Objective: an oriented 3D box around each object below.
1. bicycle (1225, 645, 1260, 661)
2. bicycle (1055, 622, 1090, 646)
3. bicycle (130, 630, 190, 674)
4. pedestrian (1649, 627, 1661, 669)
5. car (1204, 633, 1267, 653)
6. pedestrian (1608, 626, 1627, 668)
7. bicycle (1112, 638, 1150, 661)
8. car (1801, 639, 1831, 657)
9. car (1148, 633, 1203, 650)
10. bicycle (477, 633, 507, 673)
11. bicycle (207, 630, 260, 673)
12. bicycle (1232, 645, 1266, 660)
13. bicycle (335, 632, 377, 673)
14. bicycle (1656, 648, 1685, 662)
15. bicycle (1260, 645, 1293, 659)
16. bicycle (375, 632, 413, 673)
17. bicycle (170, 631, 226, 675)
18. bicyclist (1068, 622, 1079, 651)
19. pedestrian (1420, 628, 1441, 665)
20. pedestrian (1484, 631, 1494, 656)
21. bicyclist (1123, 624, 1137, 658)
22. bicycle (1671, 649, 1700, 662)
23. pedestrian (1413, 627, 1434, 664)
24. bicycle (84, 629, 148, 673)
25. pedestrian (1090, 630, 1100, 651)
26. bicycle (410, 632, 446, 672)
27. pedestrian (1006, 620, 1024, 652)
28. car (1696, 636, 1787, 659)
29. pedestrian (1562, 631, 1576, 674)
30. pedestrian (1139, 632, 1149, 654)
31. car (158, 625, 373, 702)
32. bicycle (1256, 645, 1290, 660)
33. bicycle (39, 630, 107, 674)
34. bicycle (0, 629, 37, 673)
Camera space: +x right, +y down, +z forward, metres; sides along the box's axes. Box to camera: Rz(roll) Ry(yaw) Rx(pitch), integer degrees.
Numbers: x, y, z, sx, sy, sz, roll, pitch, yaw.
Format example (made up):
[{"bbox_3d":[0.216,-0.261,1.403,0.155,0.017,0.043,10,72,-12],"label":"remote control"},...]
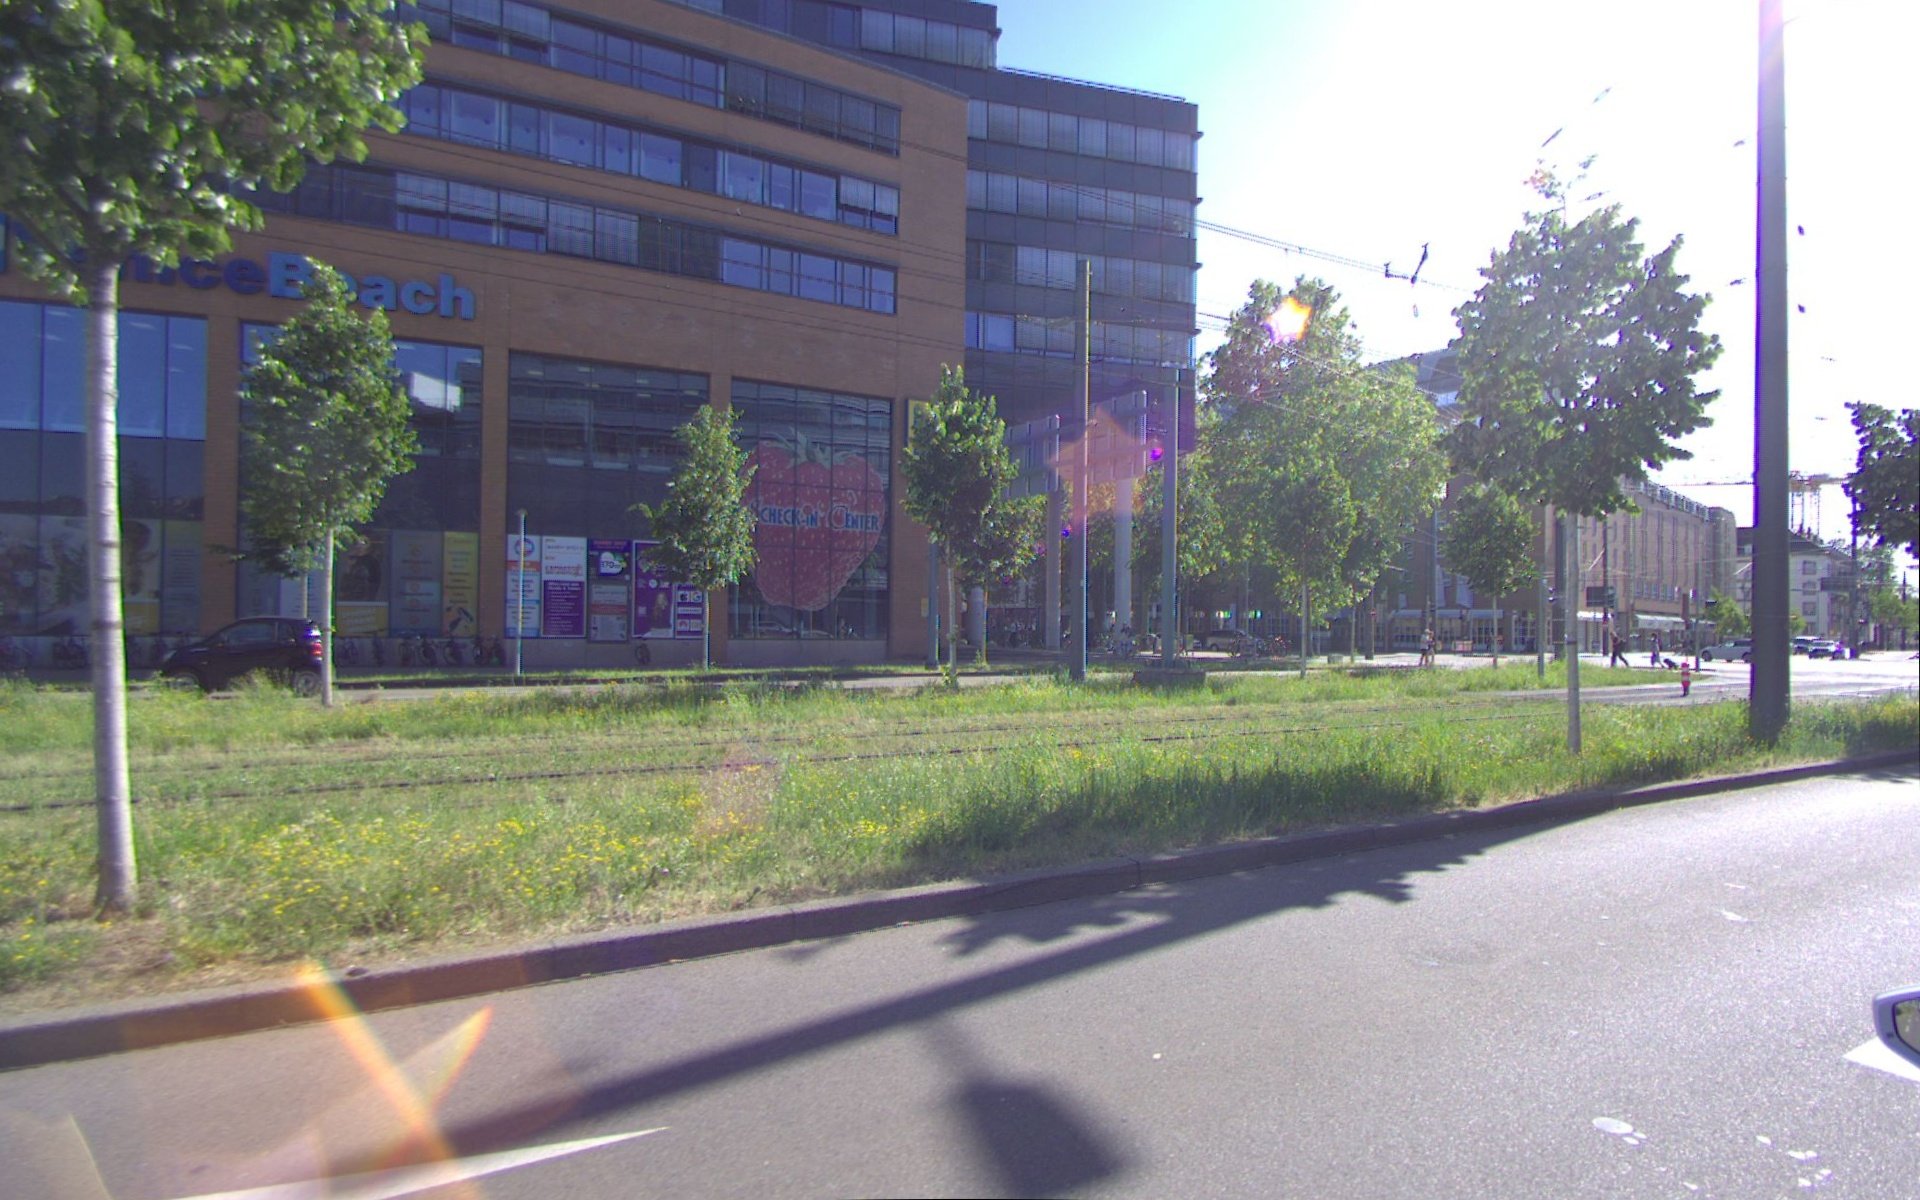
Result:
[{"bbox_3d":[15.724,2.950,55.940,0.373,0.809,2.007,2,-2,-40],"label":"bicycle"},{"bbox_3d":[6.738,2.025,60.201,2.340,1.370,0.463,-1,-2,45],"label":"bicycle"},{"bbox_3d":[-22.803,1.464,28.676,0.742,1.138,2.168,1,0,-22],"label":"bicycle"},{"bbox_3d":[31.045,2.132,44.871,0.379,1.855,0.463,0,-1,26],"label":"pedestrian"},{"bbox_3d":[19.223,2.991,70.180,1.979,1.247,3.964,2,-2,-33],"label":"car"},{"bbox_3d":[28.873,2.062,44.125,0.571,1.855,0.498,0,-1,20],"label":"pedestrian"},{"bbox_3d":[7.274,2.108,42.653,1.875,0.938,0.351,3,-2,-34],"label":"bicycle"},{"bbox_3d":[74.332,4.165,87.174,3.894,1.416,1.594,1,-5,-45],"label":"car"},{"bbox_3d":[16.005,3.075,74.794,1.763,1.158,3.964,2,-2,-33],"label":"car"},{"bbox_3d":[-14.699,1.641,31.579,0.742,1.138,2.168,1,0,-22],"label":"bicycle"},{"bbox_3d":[-21.080,1.474,29.184,0.742,1.138,2.168,1,0,-22],"label":"bicycle"},{"bbox_3d":[16.369,2.989,56.964,0.373,0.809,2.007,2,-2,-40],"label":"bicycle"},{"bbox_3d":[-18.206,1.559,30.309,0.742,1.138,2.168,1,0,-22],"label":"bicycle"},{"bbox_3d":[76.207,5.897,107.812,0.726,1.327,2.469,2,-2,-34],"label":"bicycle"},{"bbox_3d":[18.872,3.097,59.886,0.373,0.809,2.007,2,-2,-40],"label":"bicycle"},{"bbox_3d":[-17.283,1.586,30.707,0.742,1.138,2.168,1,0,-22],"label":"bicycle"},{"bbox_3d":[-21.940,1.505,28.960,0.742,1.138,2.168,1,0,-22],"label":"bicycle"},{"bbox_3d":[6.782,2.171,60.169,0.478,1.744,0.463,-1,-2,44],"label":"bicyclist"},{"bbox_3d":[23.843,2.363,50.901,0.616,1.855,0.759,1,-1,-23],"label":"pedestrian"},{"bbox_3d":[42.117,3.433,79.913,0.517,1.957,0.746,-1,-2,45],"label":"pedestrian"},{"bbox_3d":[7.205,1.740,42.615,0.477,1.395,0.338,3,-2,-33],"label":"bicyclist"},{"bbox_3d":[78.071,5.932,108.101,0.726,1.327,2.469,2,-2,-34],"label":"bicycle"},{"bbox_3d":[23.192,2.279,50.295,0.616,1.855,0.758,1,-1,-27],"label":"pedestrian"},{"bbox_3d":[-23.766,1.416,28.327,0.742,1.138,2.168,1,0,-22],"label":"bicycle"},{"bbox_3d":[8.585,2.573,63.843,0.543,1.310,0.424,2,-2,-41],"label":"pedestrian"},{"bbox_3d":[-16.381,1.588,30.955,0.742,1.138,2.168,1,0,-22],"label":"bicycle"},{"bbox_3d":[2.899,1.914,53.040,0.779,1.645,0.503,3,-2,-32],"label":"pedestrian"},{"bbox_3d":[49.580,3.002,63.827,2.029,1.399,4.407,1,-2,-8],"label":"car"},{"bbox_3d":[26.876,2.319,44.317,0.452,1.855,0.459,0,-1,20],"label":"pedestrian"},{"bbox_3d":[12.235,2.843,66.647,0.491,1.471,0.648,1,-1,-6],"label":"pedestrian"},{"bbox_3d":[-13.275,1.186,19.421,3.256,1.377,1.422,2,-2,-30],"label":"car"},{"bbox_3d":[18.229,3.050,58.531,0.373,0.809,2.007,2,-2,-40],"label":"bicycle"},{"bbox_3d":[-24.720,1.431,28.037,0.742,1.138,2.168,1,0,-22],"label":"bicycle"},{"bbox_3d":[-26.258,1.380,27.486,0.742,1.138,2.168,1,0,-22],"label":"bicycle"}]
